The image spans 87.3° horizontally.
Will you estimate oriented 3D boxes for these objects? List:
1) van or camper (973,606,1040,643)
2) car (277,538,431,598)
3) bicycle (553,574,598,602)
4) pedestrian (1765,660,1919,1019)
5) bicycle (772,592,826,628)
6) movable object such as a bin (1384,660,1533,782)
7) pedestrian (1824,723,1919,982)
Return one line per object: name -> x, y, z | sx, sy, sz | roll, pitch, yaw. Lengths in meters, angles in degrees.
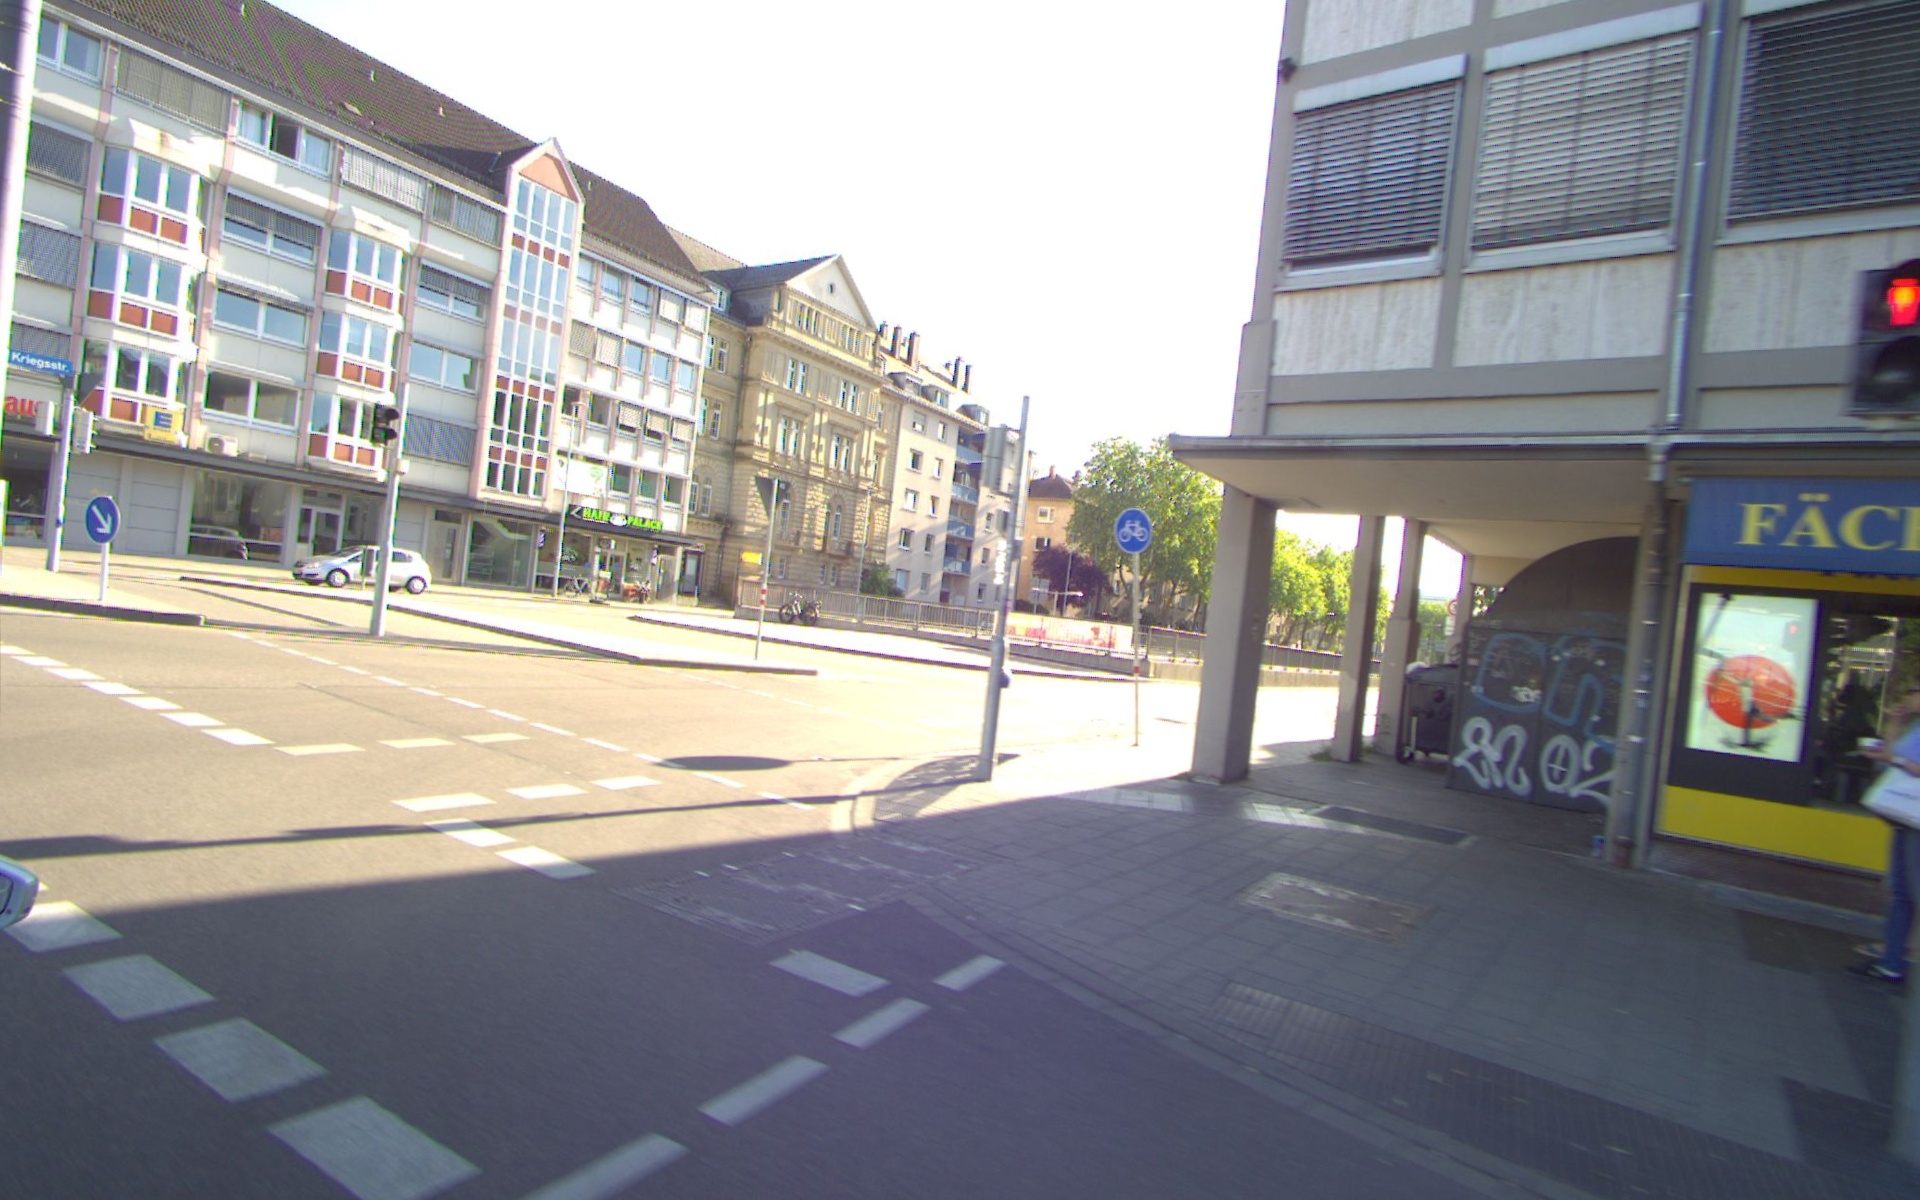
van or camper -> 3.149, 1.672, 67.288 | 2.008, 1.976, 5.251 | 7, 0, 32
car -> -19.665, -1.015, 32.784 | 1.775, 1.448, 3.844 | 5, -2, 34
bicycle -> -17.845, -0.571, 46.762 | 0.527, 1.061, 1.971 | 7, -1, 31
pedestrian -> 5.166, 1.253, 5.376 | 0.830, 1.741, 0.880 | 7, 0, 1
bicycle -> -6.004, 0.373, 37.368 | 1.963, 1.093, 0.596 | 7, -1, 33
movable object such as a bin -> 7.252, 1.726, 14.595 | 1.431, 1.487, 1.908 | 6, -1, 40
pedestrian -> 5.754, 1.517, 6.125 | 0.612, 1.439, 0.644 | 7, 0, 41
